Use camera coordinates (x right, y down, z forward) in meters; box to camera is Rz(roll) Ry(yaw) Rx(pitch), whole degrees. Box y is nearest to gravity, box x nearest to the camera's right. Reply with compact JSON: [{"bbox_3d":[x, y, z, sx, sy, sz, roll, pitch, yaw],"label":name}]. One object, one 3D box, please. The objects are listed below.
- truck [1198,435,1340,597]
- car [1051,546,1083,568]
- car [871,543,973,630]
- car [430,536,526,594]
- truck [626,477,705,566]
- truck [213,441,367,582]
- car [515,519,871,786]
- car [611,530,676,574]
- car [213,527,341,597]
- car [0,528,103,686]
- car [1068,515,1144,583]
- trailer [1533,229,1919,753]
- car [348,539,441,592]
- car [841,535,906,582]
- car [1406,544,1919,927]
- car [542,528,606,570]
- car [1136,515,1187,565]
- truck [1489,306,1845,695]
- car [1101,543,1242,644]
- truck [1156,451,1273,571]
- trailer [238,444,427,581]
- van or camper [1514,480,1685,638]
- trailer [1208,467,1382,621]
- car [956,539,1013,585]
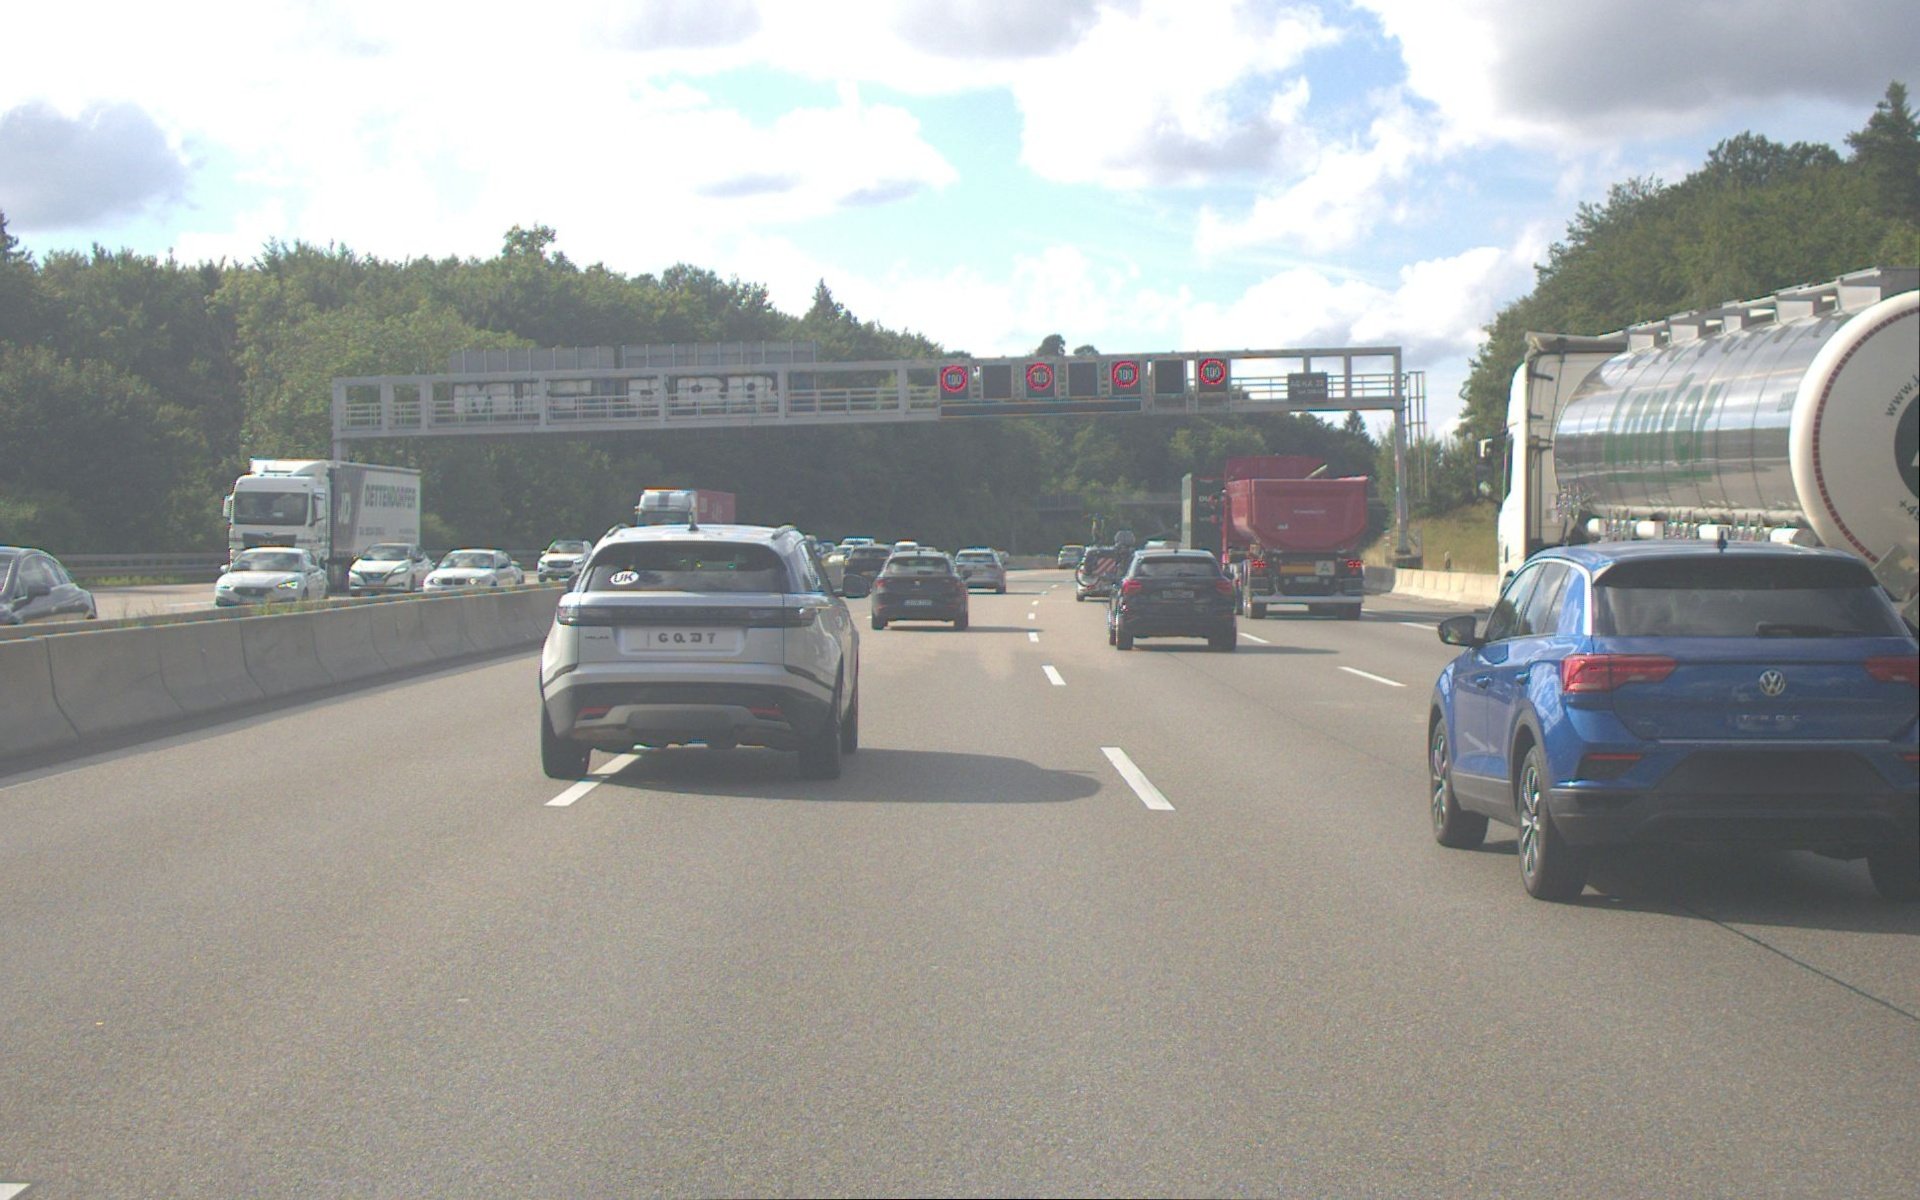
[{"bbox_3d":[7.331,-2.013,82.287,2.710,3.706,5.818,1,1,-1],"label":"truck"},{"bbox_3d":[7.405,-2.988,238.149,2.077,1.452,4.000,-1,1,3],"label":"car"},{"bbox_3d":[-0.683,-0.276,64.000,1.822,1.541,4.000,0,1,0],"label":"car"},{"bbox_3d":[-12.005,-0.901,85.894,1.681,1.392,4.715,0,1,1],"label":"car"},{"bbox_3d":[-13.761,-3.650,161.084,2.739,4.092,5.764,0,1,5],"label":"truck"},{"bbox_3d":[-20.046,-2.630,103.243,3.317,4.092,6.225,0,1,1],"label":"truck"},{"bbox_3d":[-1.706,0.271,23.748,2.006,1.611,5.301,1,1,0],"label":"car"},{"bbox_3d":[-11.797,-1.796,128.397,1.708,1.588,4.943,0,1,3],"label":"car"},{"bbox_3d":[-13.912,-0.795,70.267,1.769,1.389,4.691,0,1,-1],"label":"car"},{"bbox_3d":[-10.372,0.028,35.690,1.863,1.546,4.662,0,1,-1],"label":"car"},{"bbox_3d":[4.109,-1.444,97.323,1.893,1.850,4.101,1,1,-1],"label":"car"},{"bbox_3d":[7.320,-0.899,30.600,2.649,3.754,11.860,0,1,1],"label":"trailer"},{"bbox_3d":[-16.188,-1.006,98.591,1.811,1.448,4.801,0,1,1],"label":"car"},{"bbox_3d":[-2.810,-1.373,112.197,1.942,1.452,4.000,-1,1,0],"label":"car"},{"bbox_3d":[3.273,0.510,16.039,1.773,1.525,4.458,0,1,0],"label":"car"},{"bbox_3d":[-15.192,-2.009,135.575,1.794,1.612,5.045,1,1,2],"label":"car"},{"bbox_3d":[7.658,-2.286,130.863,1.894,1.850,4.100,1,1,3],"label":"car"},{"bbox_3d":[7.411,-1.034,36.802,2.649,3.810,6.082,0,1,1],"label":"truck"},{"bbox_3d":[3.160,-0.131,52.043,1.822,1.452,4.000,0,1,-1],"label":"car"},{"bbox_3d":[8.640,-3.009,117.843,3.118,3.921,10.412,0,1,-1],"label":"truck"},{"bbox_3d":[-19.921,-2.750,110.226,3.317,4.092,14.155,0,1,1],"label":"trailer"},{"bbox_3d":[9.721,-0.644,52.590,1.822,2.299,4.939,0,1,2],"label":"van or camper"},{"bbox_3d":[7.422,-1.290,77.407,2.710,3.220,9.734,1,1,-1],"label":"trailer"},{"bbox_3d":[0.810,-1.223,111.977,1.822,1.452,4.000,1,1,1],"label":"car"}]
